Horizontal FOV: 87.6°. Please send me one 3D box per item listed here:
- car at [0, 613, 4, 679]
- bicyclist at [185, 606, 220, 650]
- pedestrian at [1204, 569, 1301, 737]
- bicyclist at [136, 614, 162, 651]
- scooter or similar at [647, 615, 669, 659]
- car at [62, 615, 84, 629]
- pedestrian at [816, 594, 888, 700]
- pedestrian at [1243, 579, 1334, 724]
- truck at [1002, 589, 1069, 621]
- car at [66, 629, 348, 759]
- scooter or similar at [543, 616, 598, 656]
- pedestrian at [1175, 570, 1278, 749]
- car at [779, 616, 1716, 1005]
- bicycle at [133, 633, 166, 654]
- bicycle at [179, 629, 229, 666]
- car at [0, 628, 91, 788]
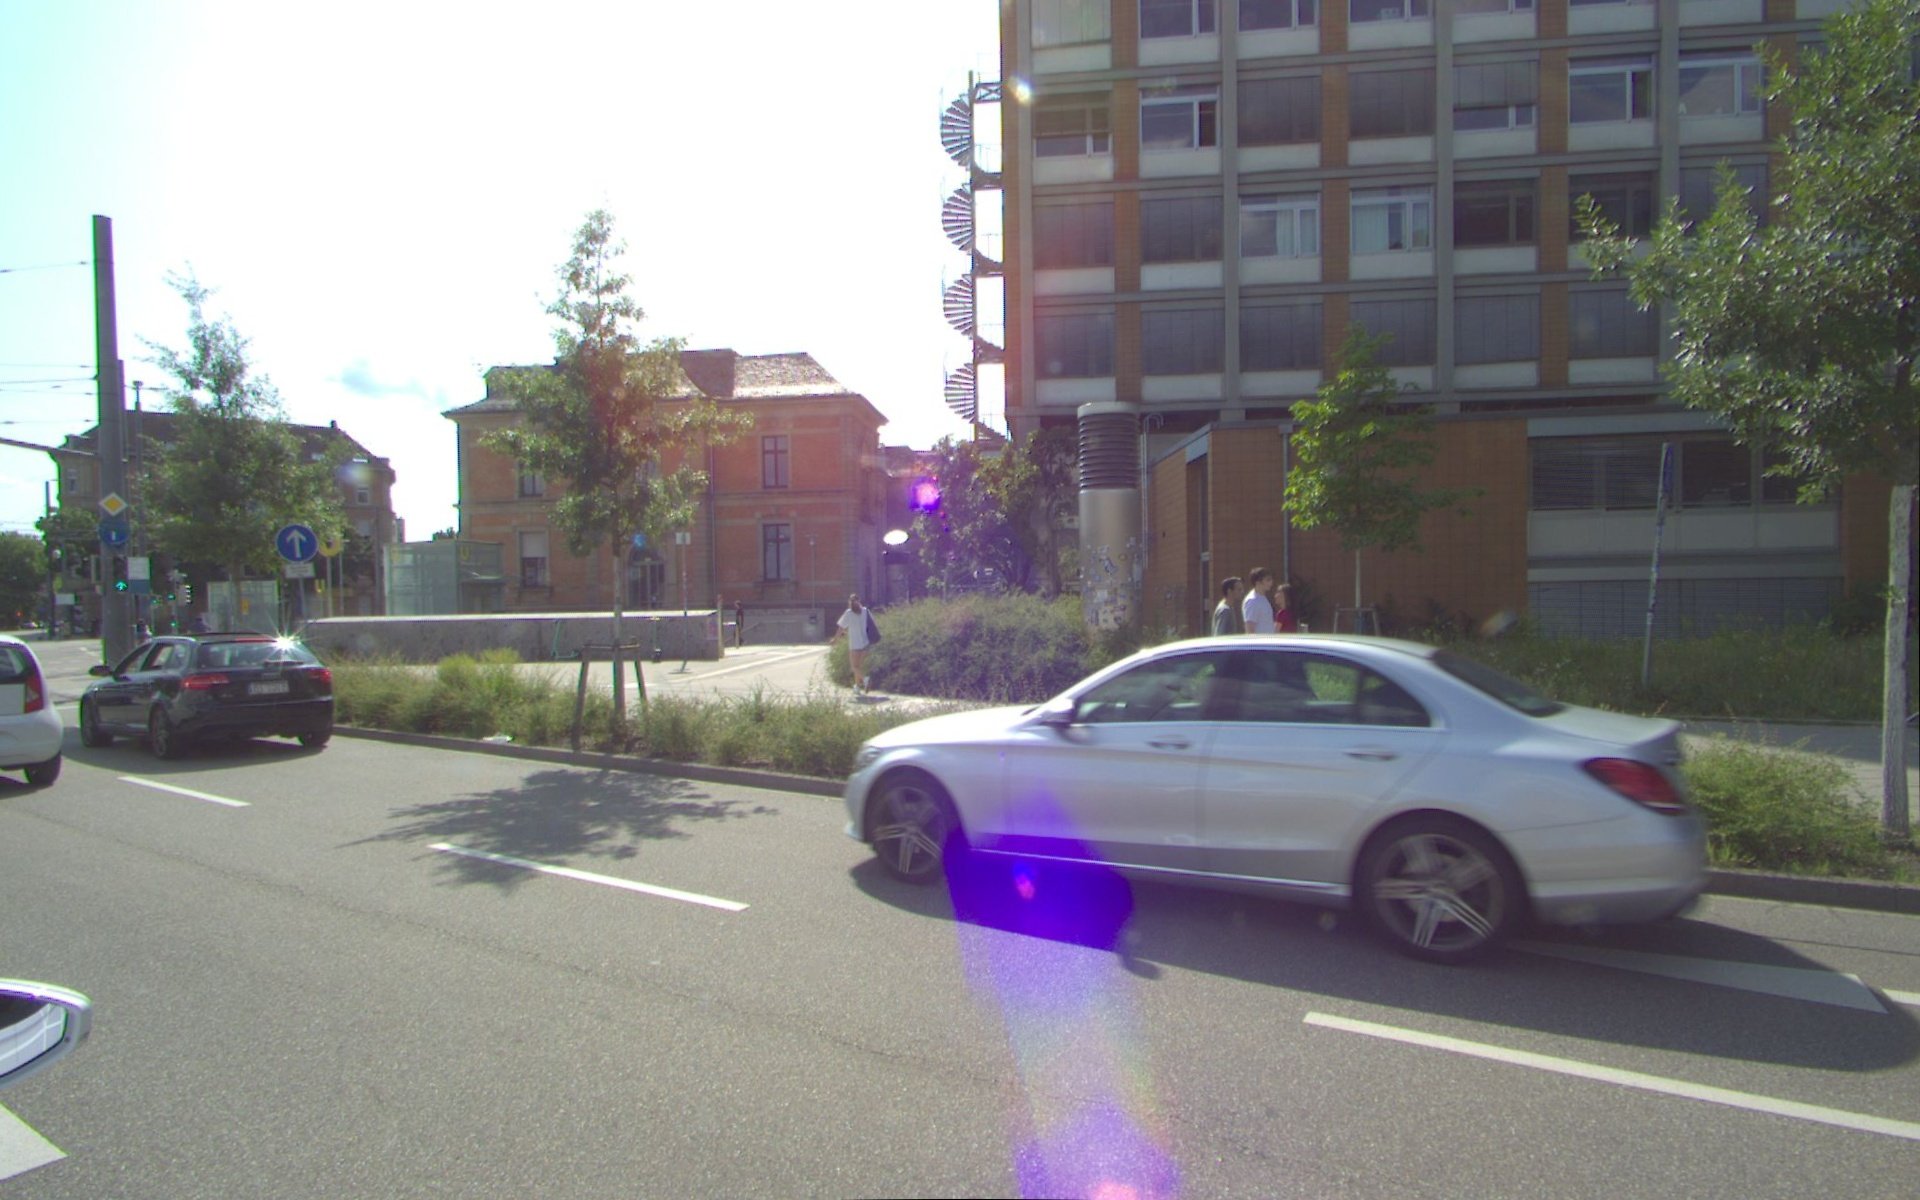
[{"bbox_3d":[-26.271,1.209,25.822,3.952,1.673,1.829,-2,-1,39],"label":"car"},{"bbox_3d":[-22.299,0.811,29.475,0.914,1.237,0.631,1,3,45],"label":"bicyclist"},{"bbox_3d":[3.247,0.567,11.087,0.875,1.770,0.741,-1,2,26],"label":"pedestrian"},{"bbox_3d":[-32.426,1.282,40.026,0.764,1.470,0.606,-1,0,35],"label":"bicyclist"},{"bbox_3d":[-8.190,0.993,27.165,0.457,1.119,1.316,-1,1,-13],"label":"scooter or similar"},{"bbox_3d":[-115.899,2.890,130.828,1.820,1.673,3.971,0,-2,-37],"label":"car"},{"bbox_3d":[-1.765,0.749,16.348,0.608,1.644,1.087,-4,3,-39],"label":"pedestrian"},{"bbox_3d":[3.916,0.596,11.938,0.877,1.644,0.612,-1,3,32],"label":"pedestrian"},{"bbox_3d":[5.078,0.384,67.422,4.304,2.039,2.000,-1,-2,11],"label":"truck"},{"bbox_3d":[-9.713,1.087,12.825,4.077,1.390,1.694,-1,-1,35],"label":"car"},{"bbox_3d":[-11.101,1.023,28.543,1.420,1.133,0.465,-1,2,13],"label":"scooter or similar"},{"bbox_3d":[2.798,0.595,10.464,0.875,1.778,0.741,-1,2,25],"label":"pedestrian"},{"bbox_3d":[1.358,0.862,5.864,4.690,1.474,1.927,-1,-1,32],"label":"car"},{"bbox_3d":[-32.417,1.735,40.052,1.599,0.786,0.583,-1,0,34],"label":"bicycle"},{"bbox_3d":[-22.297,1.387,29.531,1.940,0.983,0.841,0,3,44],"label":"bicycle"},{"bbox_3d":[-10.543,1.027,10.125,3.944,1.441,1.645,-1,0,34],"label":"car"}]
